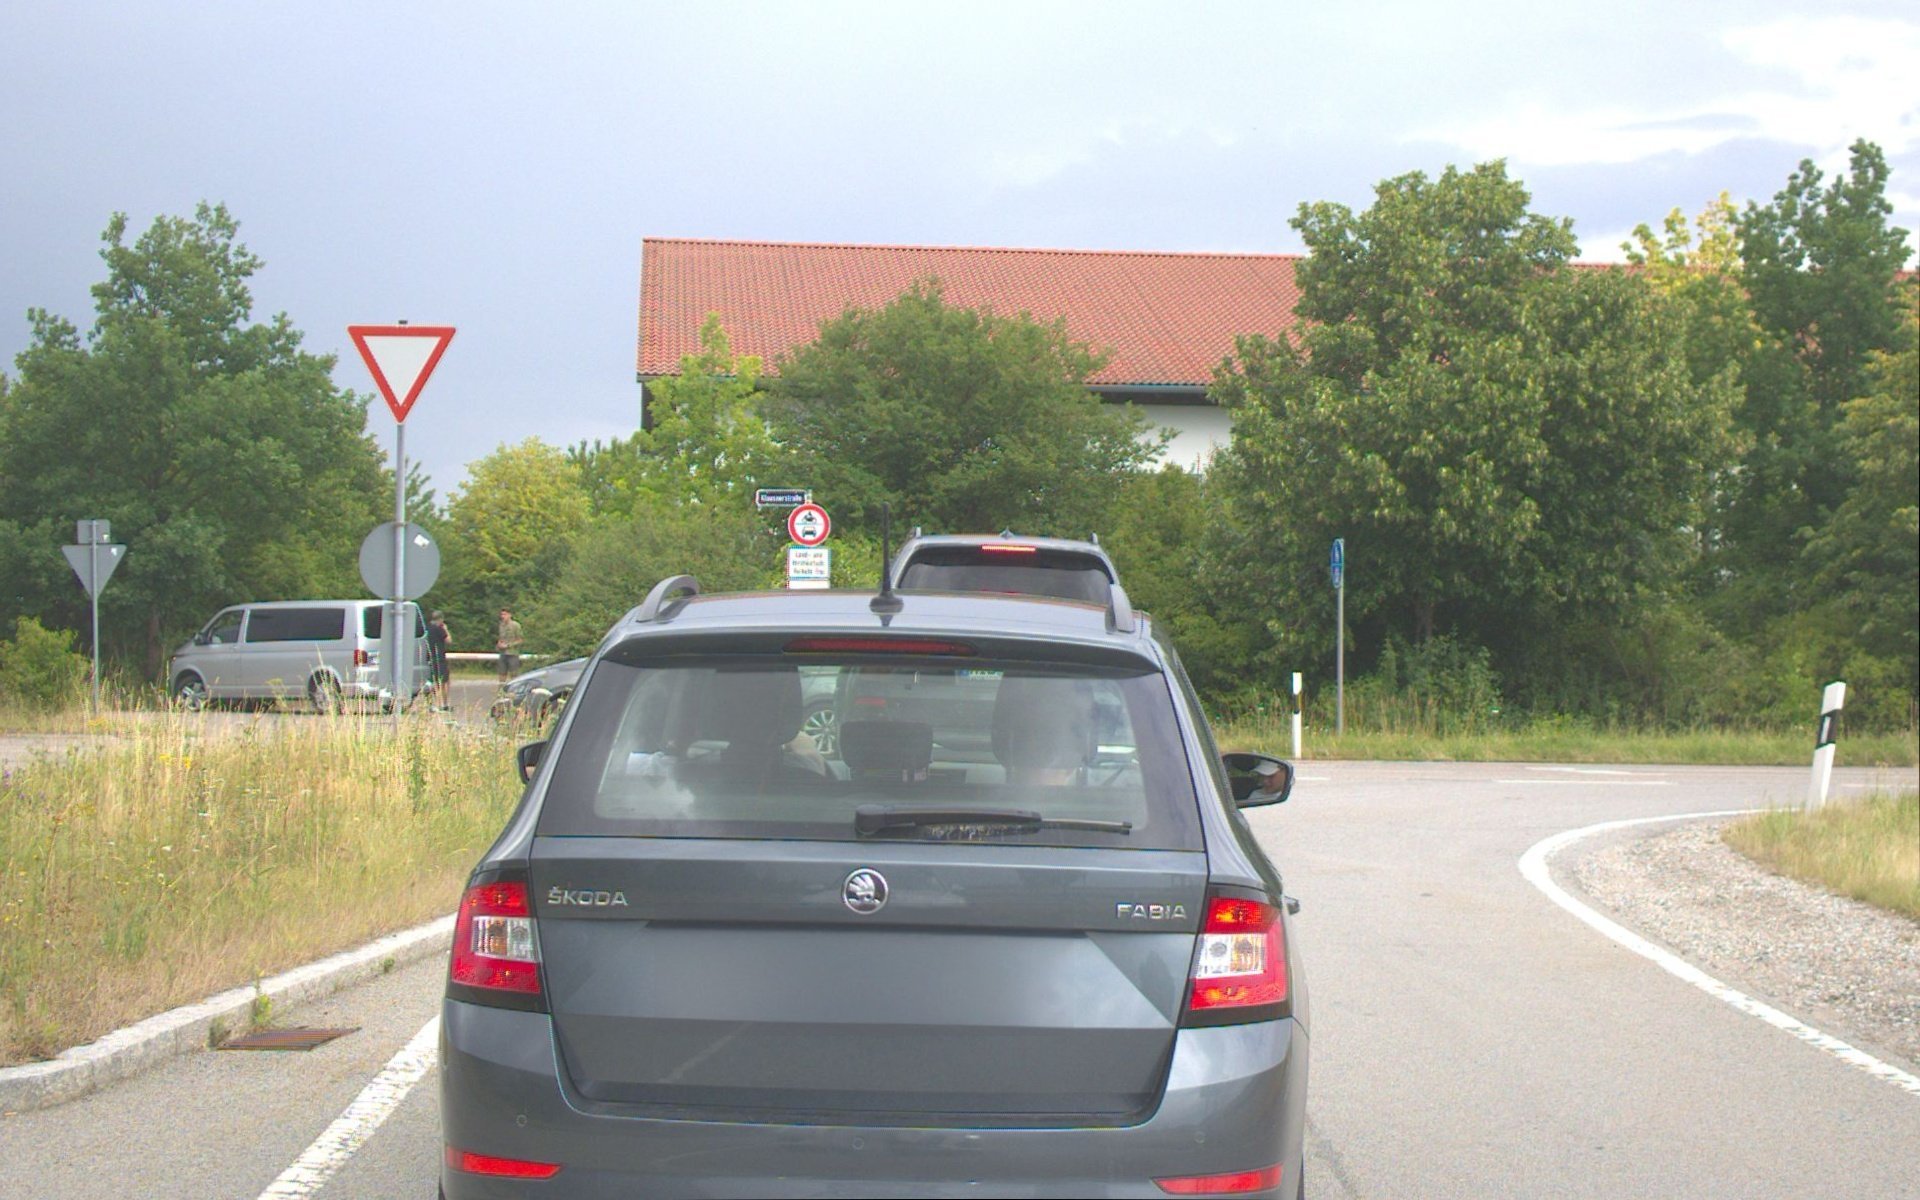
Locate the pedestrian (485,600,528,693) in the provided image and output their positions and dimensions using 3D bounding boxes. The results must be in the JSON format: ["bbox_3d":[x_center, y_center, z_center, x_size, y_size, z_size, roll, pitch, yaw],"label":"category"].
[{"bbox_3d":[-8.281,0.853,62.803,0.584,1.677,0.565,0,1,22],"label":"pedestrian"}]

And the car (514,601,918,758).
[{"bbox_3d":[-2.600,0.830,36.987,4.209,1.596,2.000,0,1,-3],"label":"car"}]

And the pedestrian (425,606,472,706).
[{"bbox_3d":[-8.941,0.973,60.106,0.529,1.720,0.640,1,1,34],"label":"pedestrian"}]

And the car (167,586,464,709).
[{"bbox_3d":[-11.339,0.795,60.390,4.908,2.007,2.337,1,1,35],"label":"car"}]

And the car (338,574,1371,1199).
[{"bbox_3d":[-0.210,0.702,7.531,1.676,1.458,3.708,2,1,-1],"label":"car"}]

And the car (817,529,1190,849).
[{"bbox_3d":[0.152,0.531,21.720,1.993,1.768,4.644,1,-1,-3],"label":"car"}]
